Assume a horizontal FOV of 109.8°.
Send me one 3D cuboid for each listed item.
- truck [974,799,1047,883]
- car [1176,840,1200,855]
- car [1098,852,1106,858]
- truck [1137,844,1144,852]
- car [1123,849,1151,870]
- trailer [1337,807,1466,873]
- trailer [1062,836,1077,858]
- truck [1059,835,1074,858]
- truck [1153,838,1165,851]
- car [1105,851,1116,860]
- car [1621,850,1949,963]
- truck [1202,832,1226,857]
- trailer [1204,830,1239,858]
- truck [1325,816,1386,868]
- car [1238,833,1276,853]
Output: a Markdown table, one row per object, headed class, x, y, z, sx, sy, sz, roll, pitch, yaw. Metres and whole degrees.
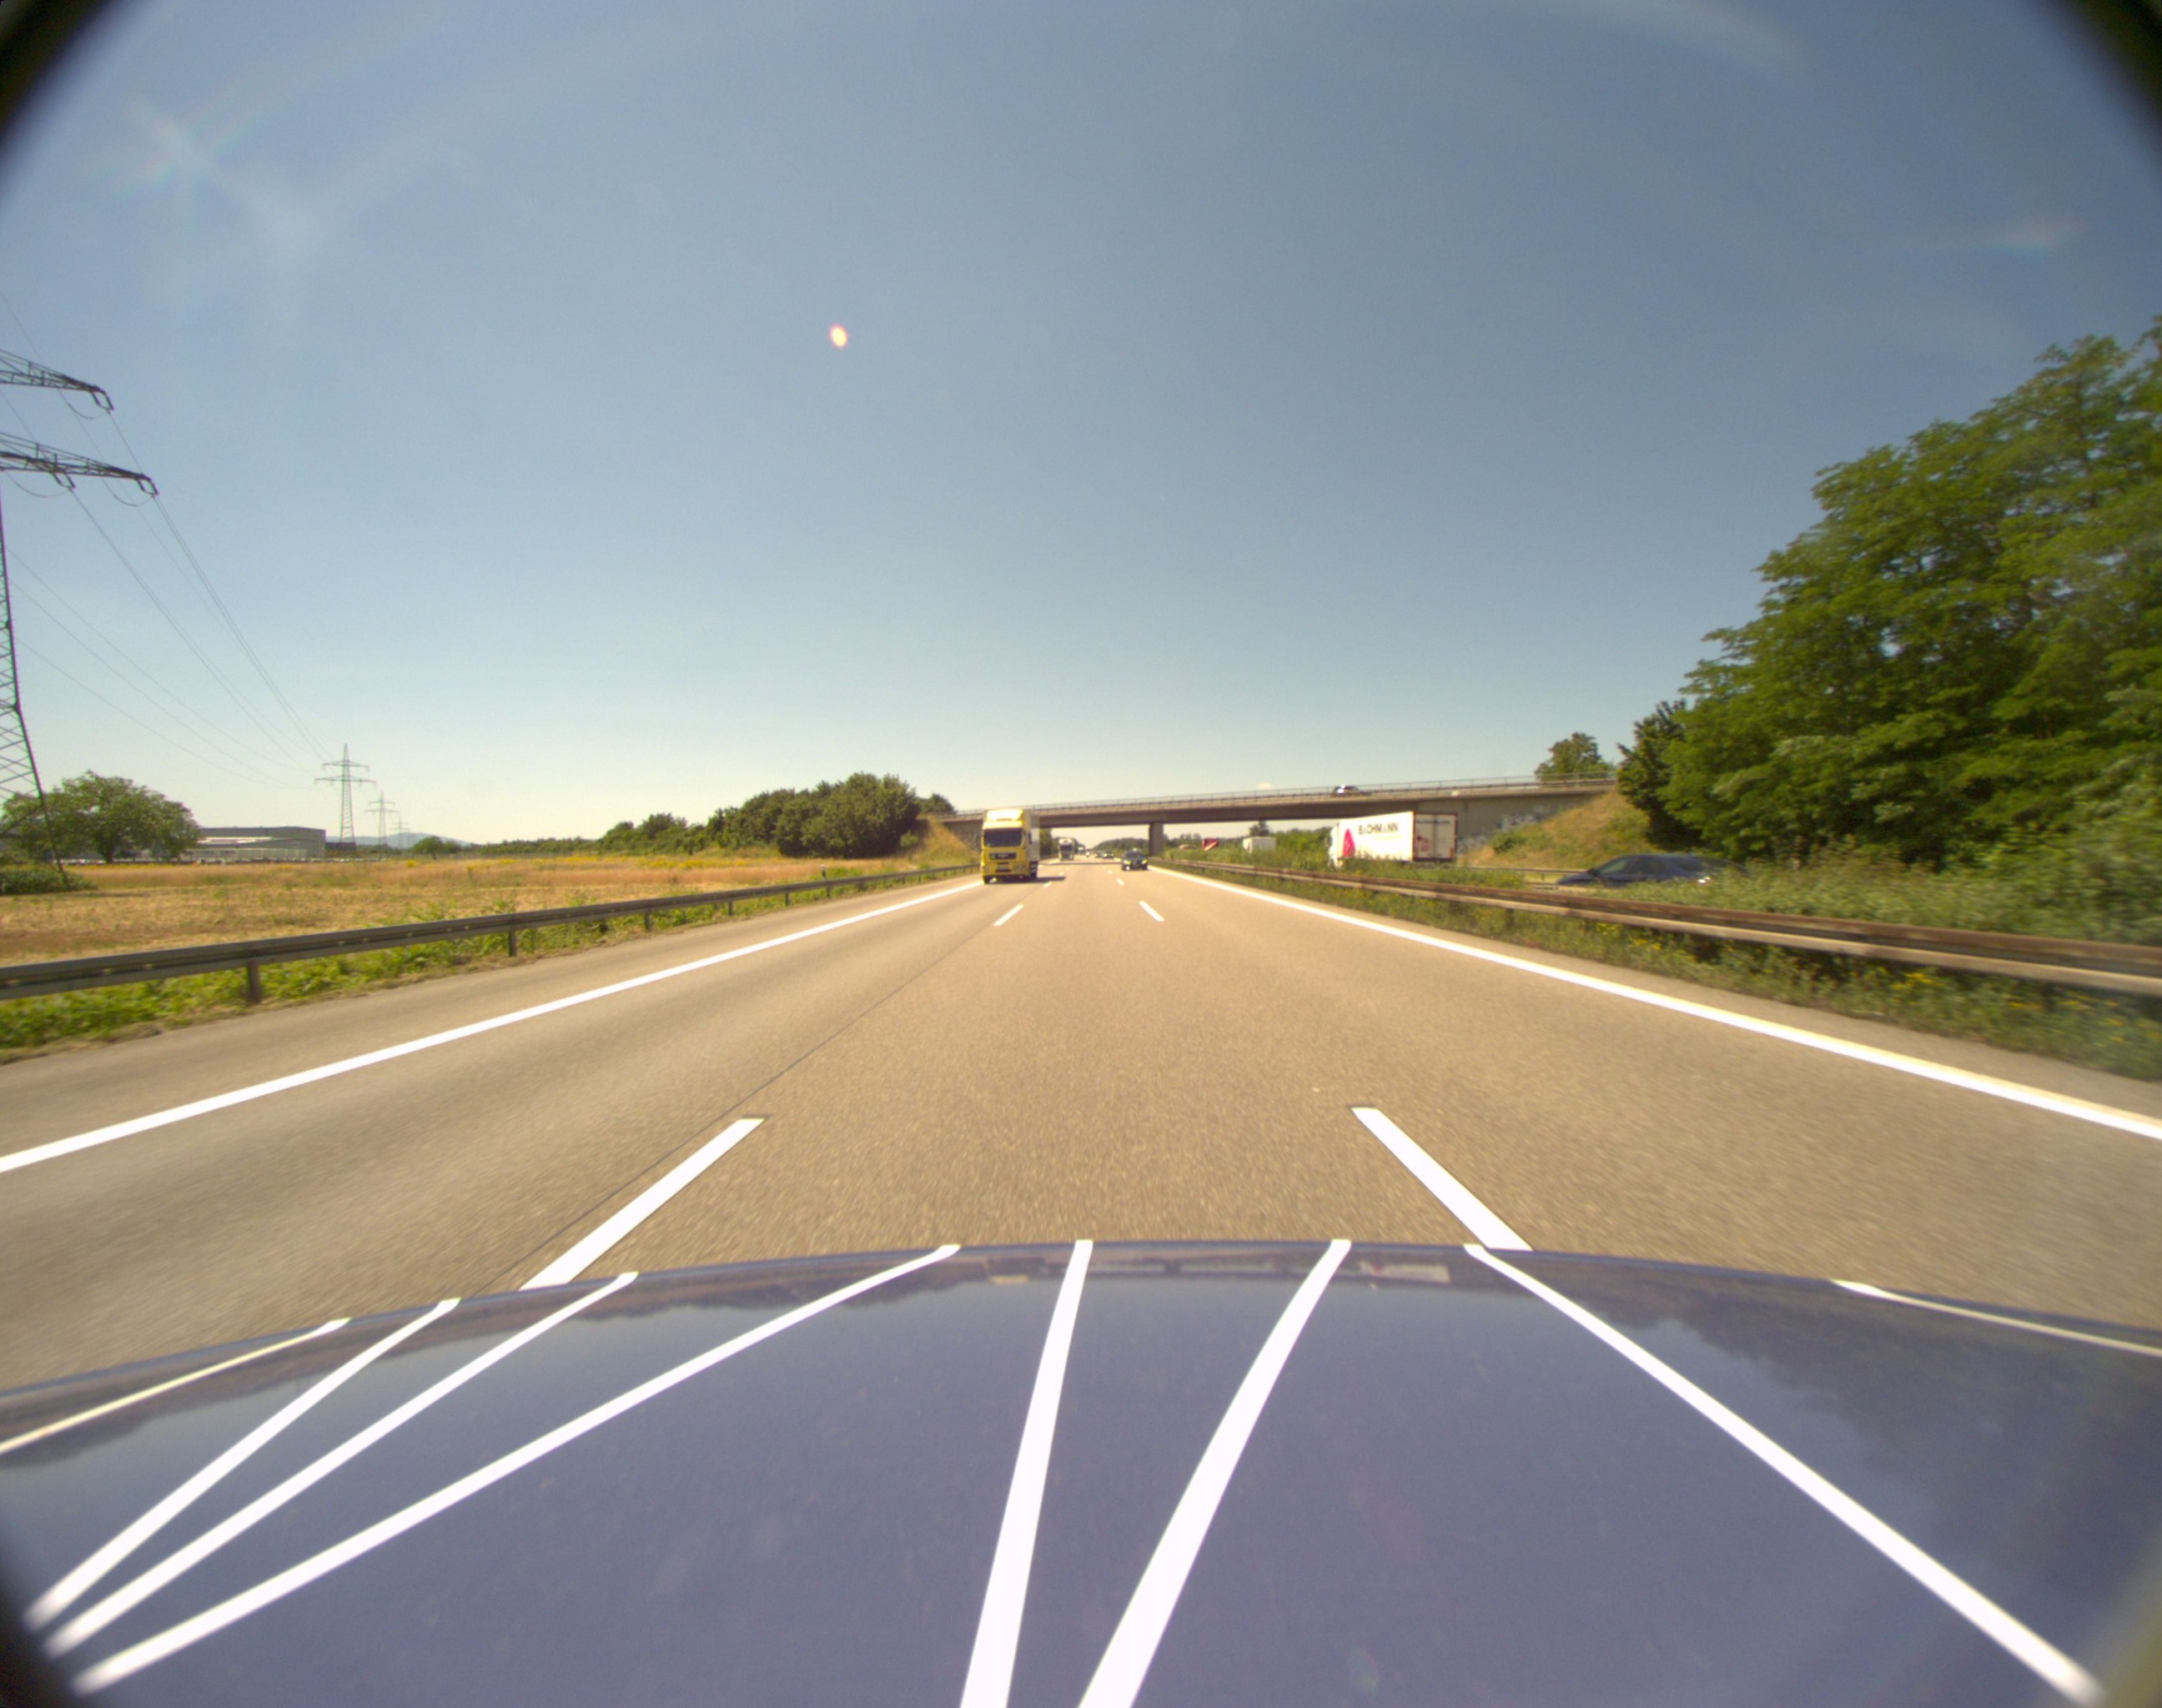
| class | x | y | z | sx | sy | sz | roll | pitch | yaw |
| --- | --- | --- | --- | --- | --- | --- | --- | --- | --- |
| truck | -3.825 | -0.692 | 44.051 | 2.941 | 4.175 | 10.680 | -3 | 0 | 0 |
| car | 13.968 | -0.798 | 99.240 | 2.097 | 1.770 | 5.460 | -3 | 0 | -2 |
| car | 4.731 | 0.231 | 172.691 | 1.811 | 1.417 | 4.000 | -3 | 0 | 1 |
| truck | 19.432 | -1.905 | 248.302 | 1.998 | 2.385 | 6.419 | -3 | 0 | 2 |
| car | 4.245 | 0.359 | 57.794 | 1.811 | 1.459 | 4.000 | -3 | 0 | 1 |
| trailer | 20.957 | -0.853 | 51.123 | 2.833 | 3.688 | 13.927 | -3 | 0 | 1 |
| trailer | -2.173 | -1.403 | 148.140 | 2.476 | 4.038 | 13.879 | -3 | 0 | 1 |
| truck | -2.661 | -1.336 | 141.805 | 2.476 | 4.038 | 6.319 | -3 | 0 | 1 |
| truck | 23.977 | -2.889 | 233.467 | 2.884 | 3.477 | 10.735 | -3 | 0 | 2 |
| car | 5.180 | 0.227 | 134.658 | 1.811 | 1.417 | 4.000 | -3 | 0 | 1 |
| car | 12.248 | 0.797 | 13.703 | 1.978 | 1.637 | 4.213 | -3 | 0 | 0 |
| truck | 21.838 | -1.535 | 125.101 | 2.618 | 3.875 | 6.499 | -3 | 0 | 1 |
| trailer | 21.765 | -1.509 | 118.523 | 2.618 | 3.861 | 15.581 | -3 | 0 | 1 |
| truck | 21.070 | -0.913 | 58.574 | 2.802 | 3.700 | 5.117 | -3 | 1 | 1 |
| car | 17.075 | -1.047 | 73.984 | 2.308 | 1.770 | 5.423 | -3 | 0 | 0 |
